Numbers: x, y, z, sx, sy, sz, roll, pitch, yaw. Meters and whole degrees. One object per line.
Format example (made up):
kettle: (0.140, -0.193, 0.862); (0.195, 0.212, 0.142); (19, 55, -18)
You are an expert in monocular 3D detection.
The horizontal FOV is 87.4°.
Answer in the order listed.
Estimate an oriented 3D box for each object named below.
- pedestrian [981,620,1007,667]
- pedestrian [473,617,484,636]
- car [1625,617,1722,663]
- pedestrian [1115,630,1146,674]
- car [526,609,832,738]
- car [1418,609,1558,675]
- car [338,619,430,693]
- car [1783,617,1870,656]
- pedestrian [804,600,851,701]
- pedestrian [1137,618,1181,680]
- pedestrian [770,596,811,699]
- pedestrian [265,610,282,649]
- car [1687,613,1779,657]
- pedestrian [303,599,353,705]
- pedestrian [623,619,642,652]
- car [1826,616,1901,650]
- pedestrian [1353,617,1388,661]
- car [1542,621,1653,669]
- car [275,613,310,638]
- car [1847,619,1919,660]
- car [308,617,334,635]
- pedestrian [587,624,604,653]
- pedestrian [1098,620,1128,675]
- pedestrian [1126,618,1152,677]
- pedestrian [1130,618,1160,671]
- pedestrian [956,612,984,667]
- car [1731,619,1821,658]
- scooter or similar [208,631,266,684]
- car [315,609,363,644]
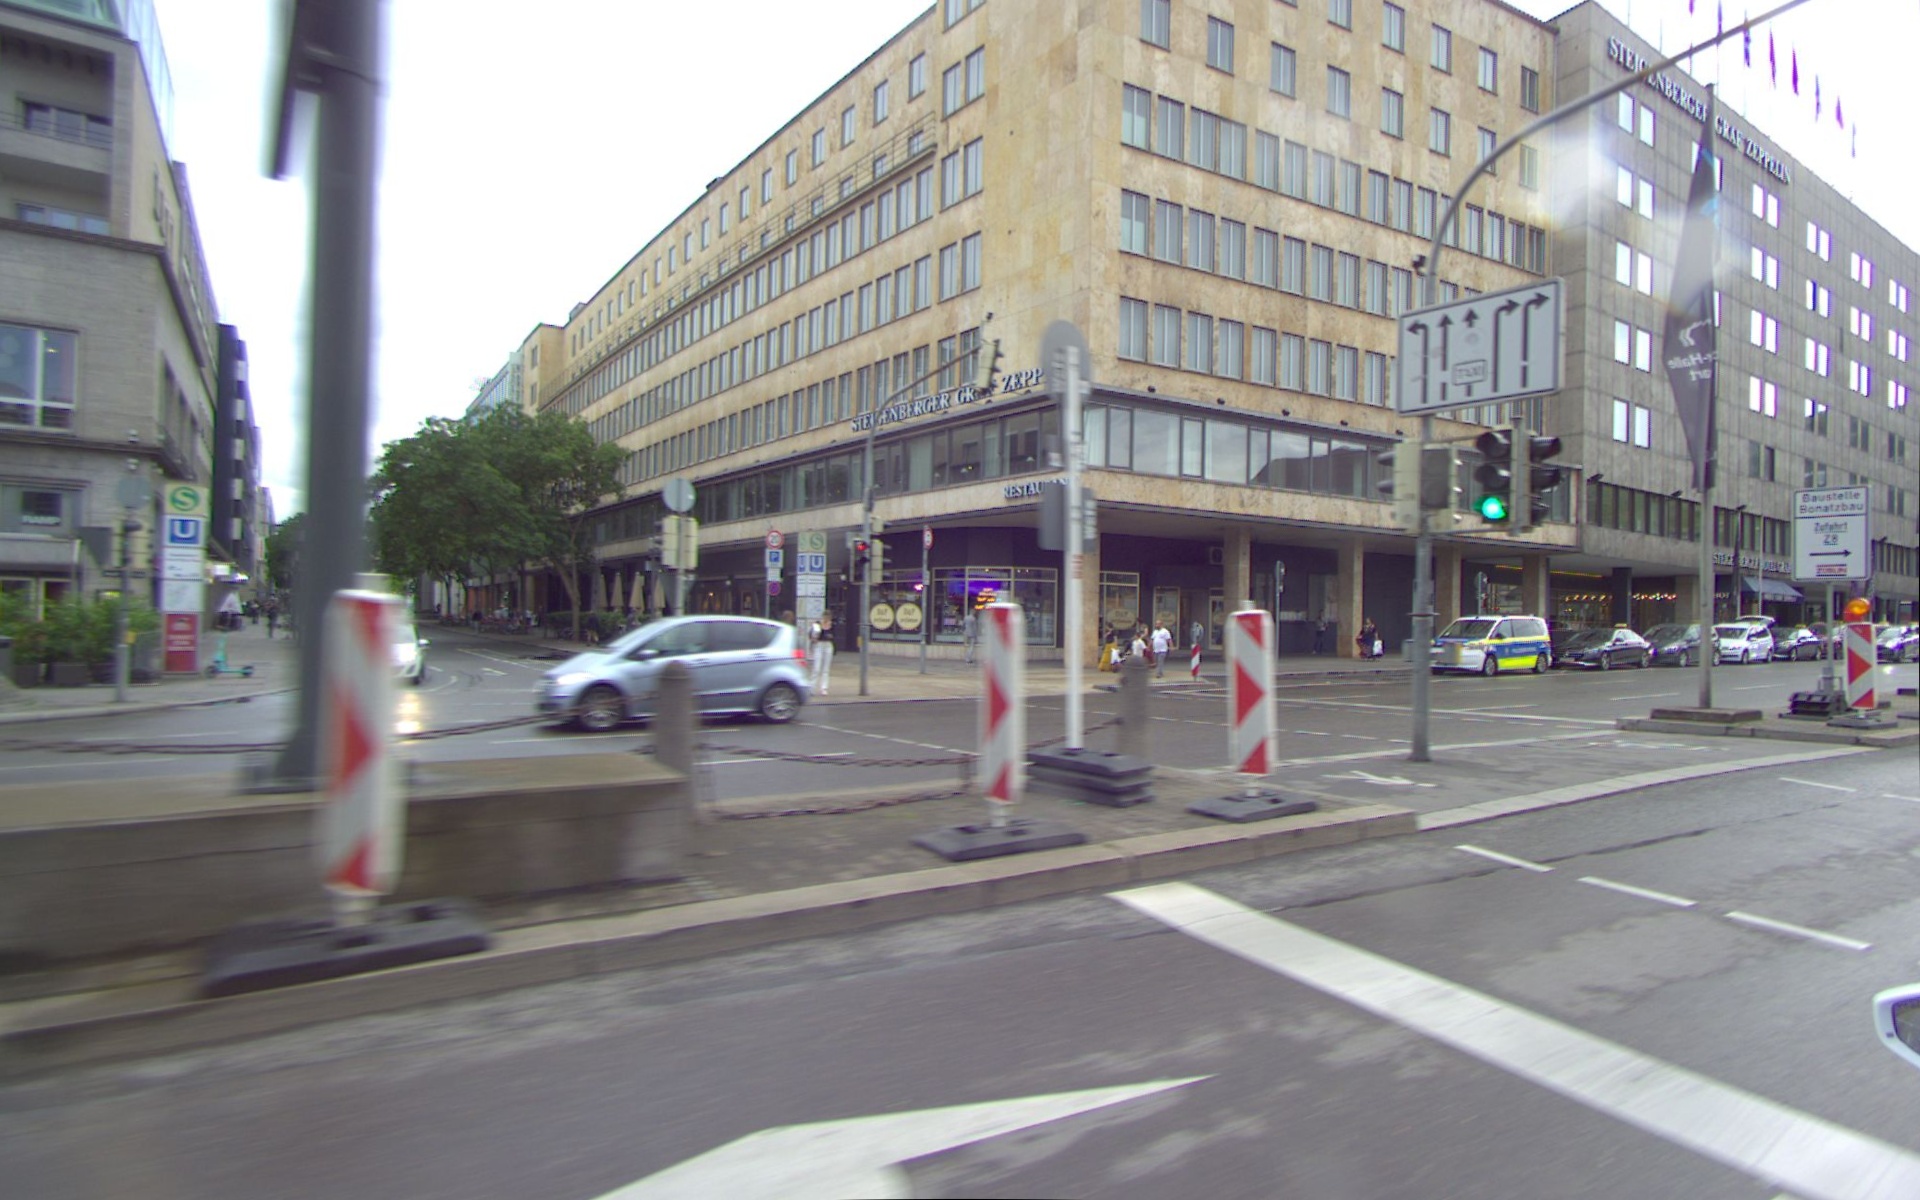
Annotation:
pedestrian: (1.185, 1.504, 35.174); (0.674, 1.630, 0.621); (1, -1, -28)
pedestrian: (-33.620, 1.846, 70.099); (0.560, 1.316, 0.618); (1, 2, -36)
car: (27.934, 1.518, 39.278); (4.185, 1.703, 1.743); (0, -1, -34)
pedestrian: (5.119, 1.540, 30.078); (0.745, 1.309, 0.559); (1, -2, -35)
car: (-4.015, 0.988, 14.583); (3.959, 1.643, 1.744); (1, -2, -34)
car: (17.208, 1.317, 32.658); (5.022, 1.954, 1.889); (0, -1, -34)
car: (-14.067, 1.302, 24.717); (1.783, 1.661, 4.065); (1, -1, -28)
car: (42.147, 1.757, 48.853); (4.594, 1.791, 1.892); (1, -1, -31)
pedestrian: (-2.625, 0.994, 19.869); (0.744, 1.950, 0.586); (1, -1, -34)
pedestrian: (5.514, 1.335, 27.848); (0.784, 1.640, 0.828); (1, 2, -43)
pedestrian: (-3.277, 0.901, 19.412); (0.579, 1.950, 0.718); (0, -1, 8)
pedestrian: (-35.867, 1.548, 52.518); (0.698, 2.040, 0.800); (1, -2, -34)
car: (32.813, 1.469, 42.613); (4.662, 1.781, 1.743); (1, -2, -34)
pedestrian: (-12.484, 1.015, 19.865); (0.798, 2.040, 0.699); (1, -2, -33)
pedestrian: (-14.065, 1.528, 43.096); (0.595, 1.383, 0.695); (1, 2, -31)
car: (46.588, 1.696, 51.790); (4.529, 1.720, 1.805); (1, -2, -33)
pedestrian: (14.837, 1.417, 36.290); (0.944, 1.569, 0.712); (1, -1, -27)
car: (23.094, 1.598, 36.328); (4.518, 1.643, 1.743); (1, -2, -34)
car: (-44.967, 1.708, 67.678); (1.780, 1.582, 4.043); (1, -2, -36)
car: (40.125, 1.688, 43.202); (4.450, 1.691, 1.765); (1, -2, -32)
car: (-57.896, 2.345, 90.968); (1.618, 1.627, 3.584); (1, -2, -38)
pedestrian: (-18.065, 1.903, 49.780); (0.596, 1.383, 0.694); (1, 2, -36)
pedestrian: (4.737, 1.462, 31.028); (0.745, 1.690, 0.559); (1, -2, -35)
pedestrian: (5.051, 1.329, 28.353); (0.524, 1.640, 0.445); (1, 2, -44)
pedestrian: (5.632, 1.347, 30.585); (0.670, 1.613, 0.664); (1, -1, -17)
pedestrian: (0.343, 1.384, 35.171); (0.762, 1.900, 0.712); (1, -1, -28)
car: (37.136, 1.695, 45.698); (4.567, 1.681, 1.892); (1, -1, -33)
scooter or similar: (-17.554, 1.383, 24.394); (0.419, 1.260, 1.048); (-1, -2, 32)
car: (-32.662, 1.394, 52.809); (1.781, 1.751, 4.041); (1, -2, -37)
